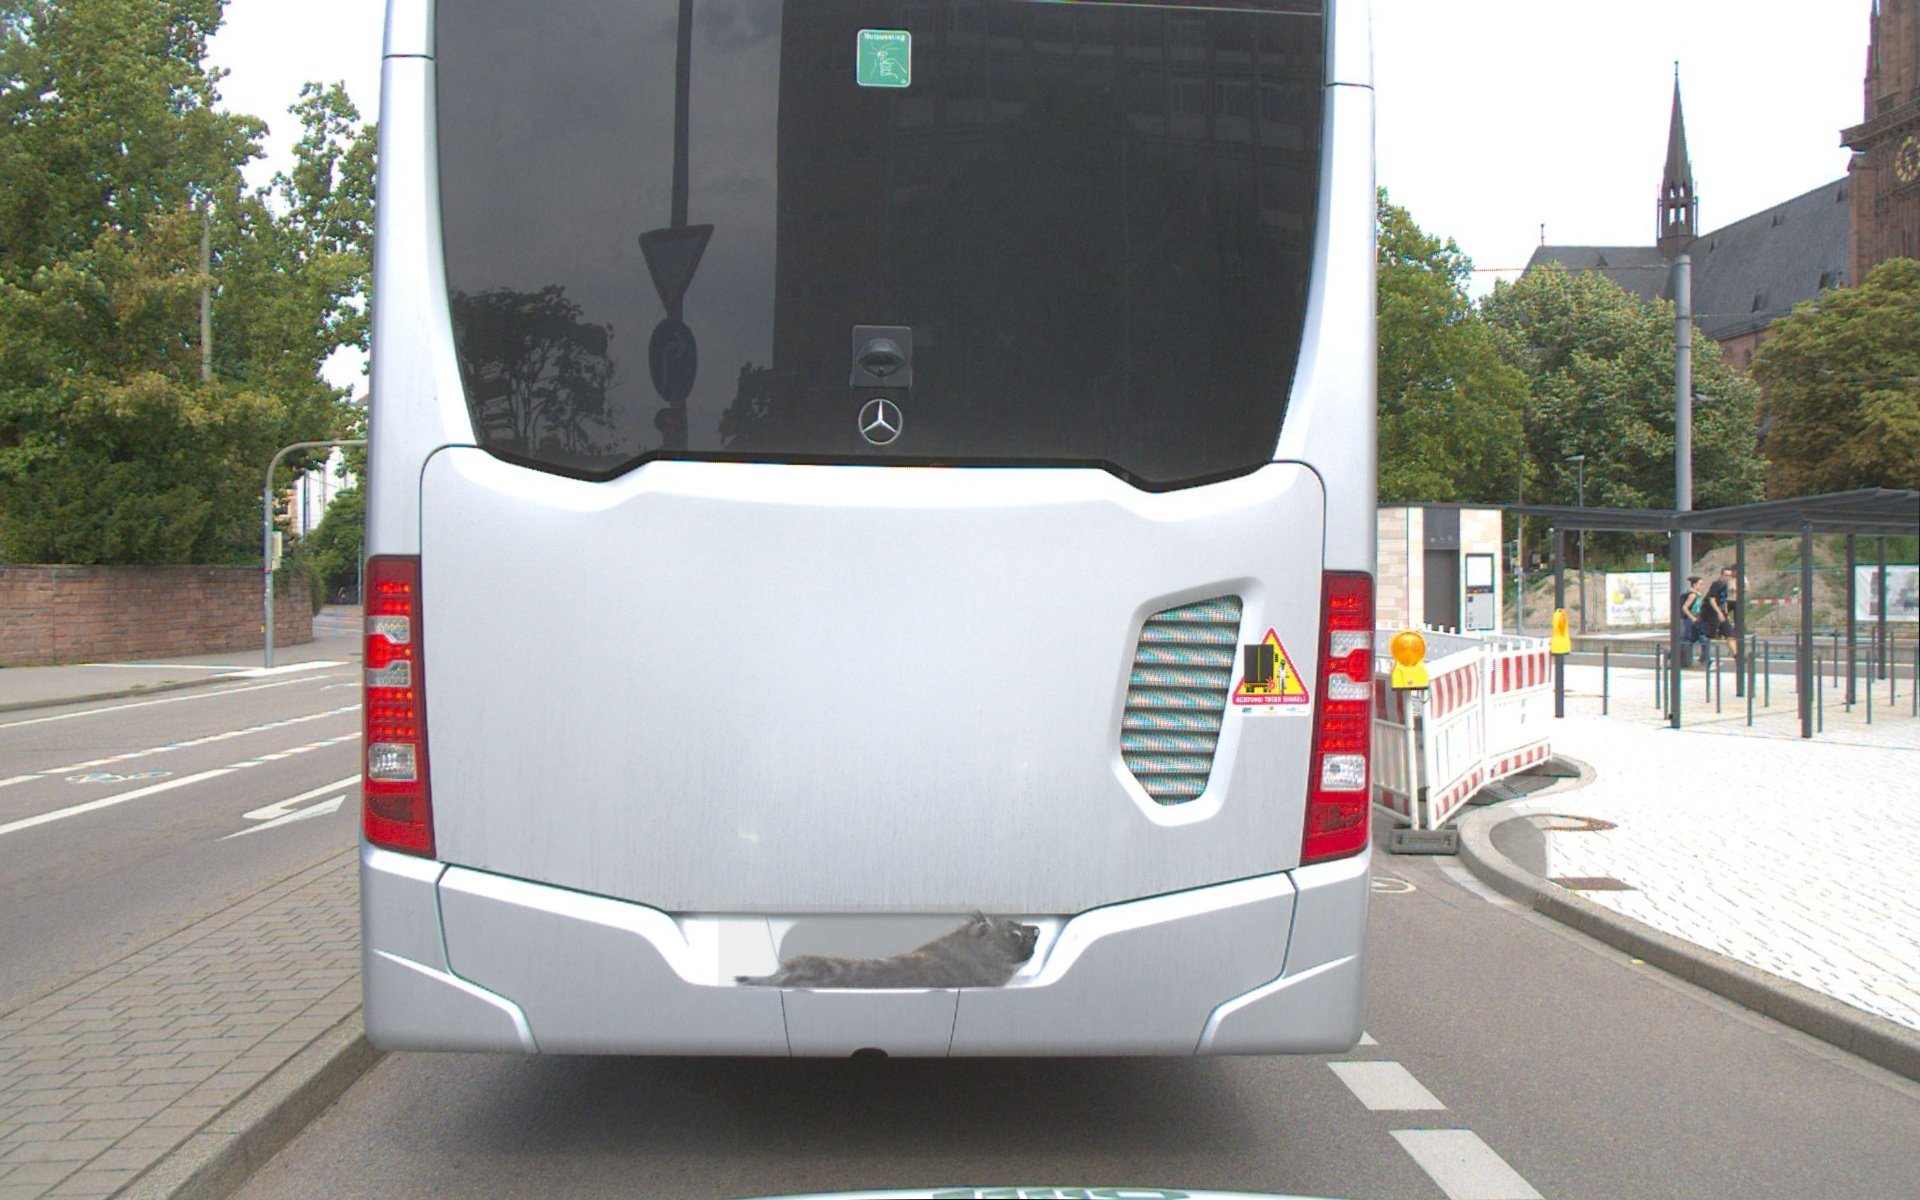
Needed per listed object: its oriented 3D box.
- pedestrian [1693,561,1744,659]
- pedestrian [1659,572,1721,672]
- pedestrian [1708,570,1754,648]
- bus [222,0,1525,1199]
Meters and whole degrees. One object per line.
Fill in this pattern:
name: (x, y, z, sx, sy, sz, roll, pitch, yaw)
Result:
pedestrian: (13.344, 0.166, 29.097, 0.526, 1.683, 0.621, -2, 3, -38)
pedestrian: (12.358, 0.363, 27.993, 0.533, 1.631, 0.787, -2, 3, -38)
pedestrian: (18.482, 0.209, 39.655, 0.803, 1.832, 0.753, 0, 3, 9)
bus: (-0.159, -0.396, 10.466, 2.649, 3.498, 14.183, 0, 0, 0)
